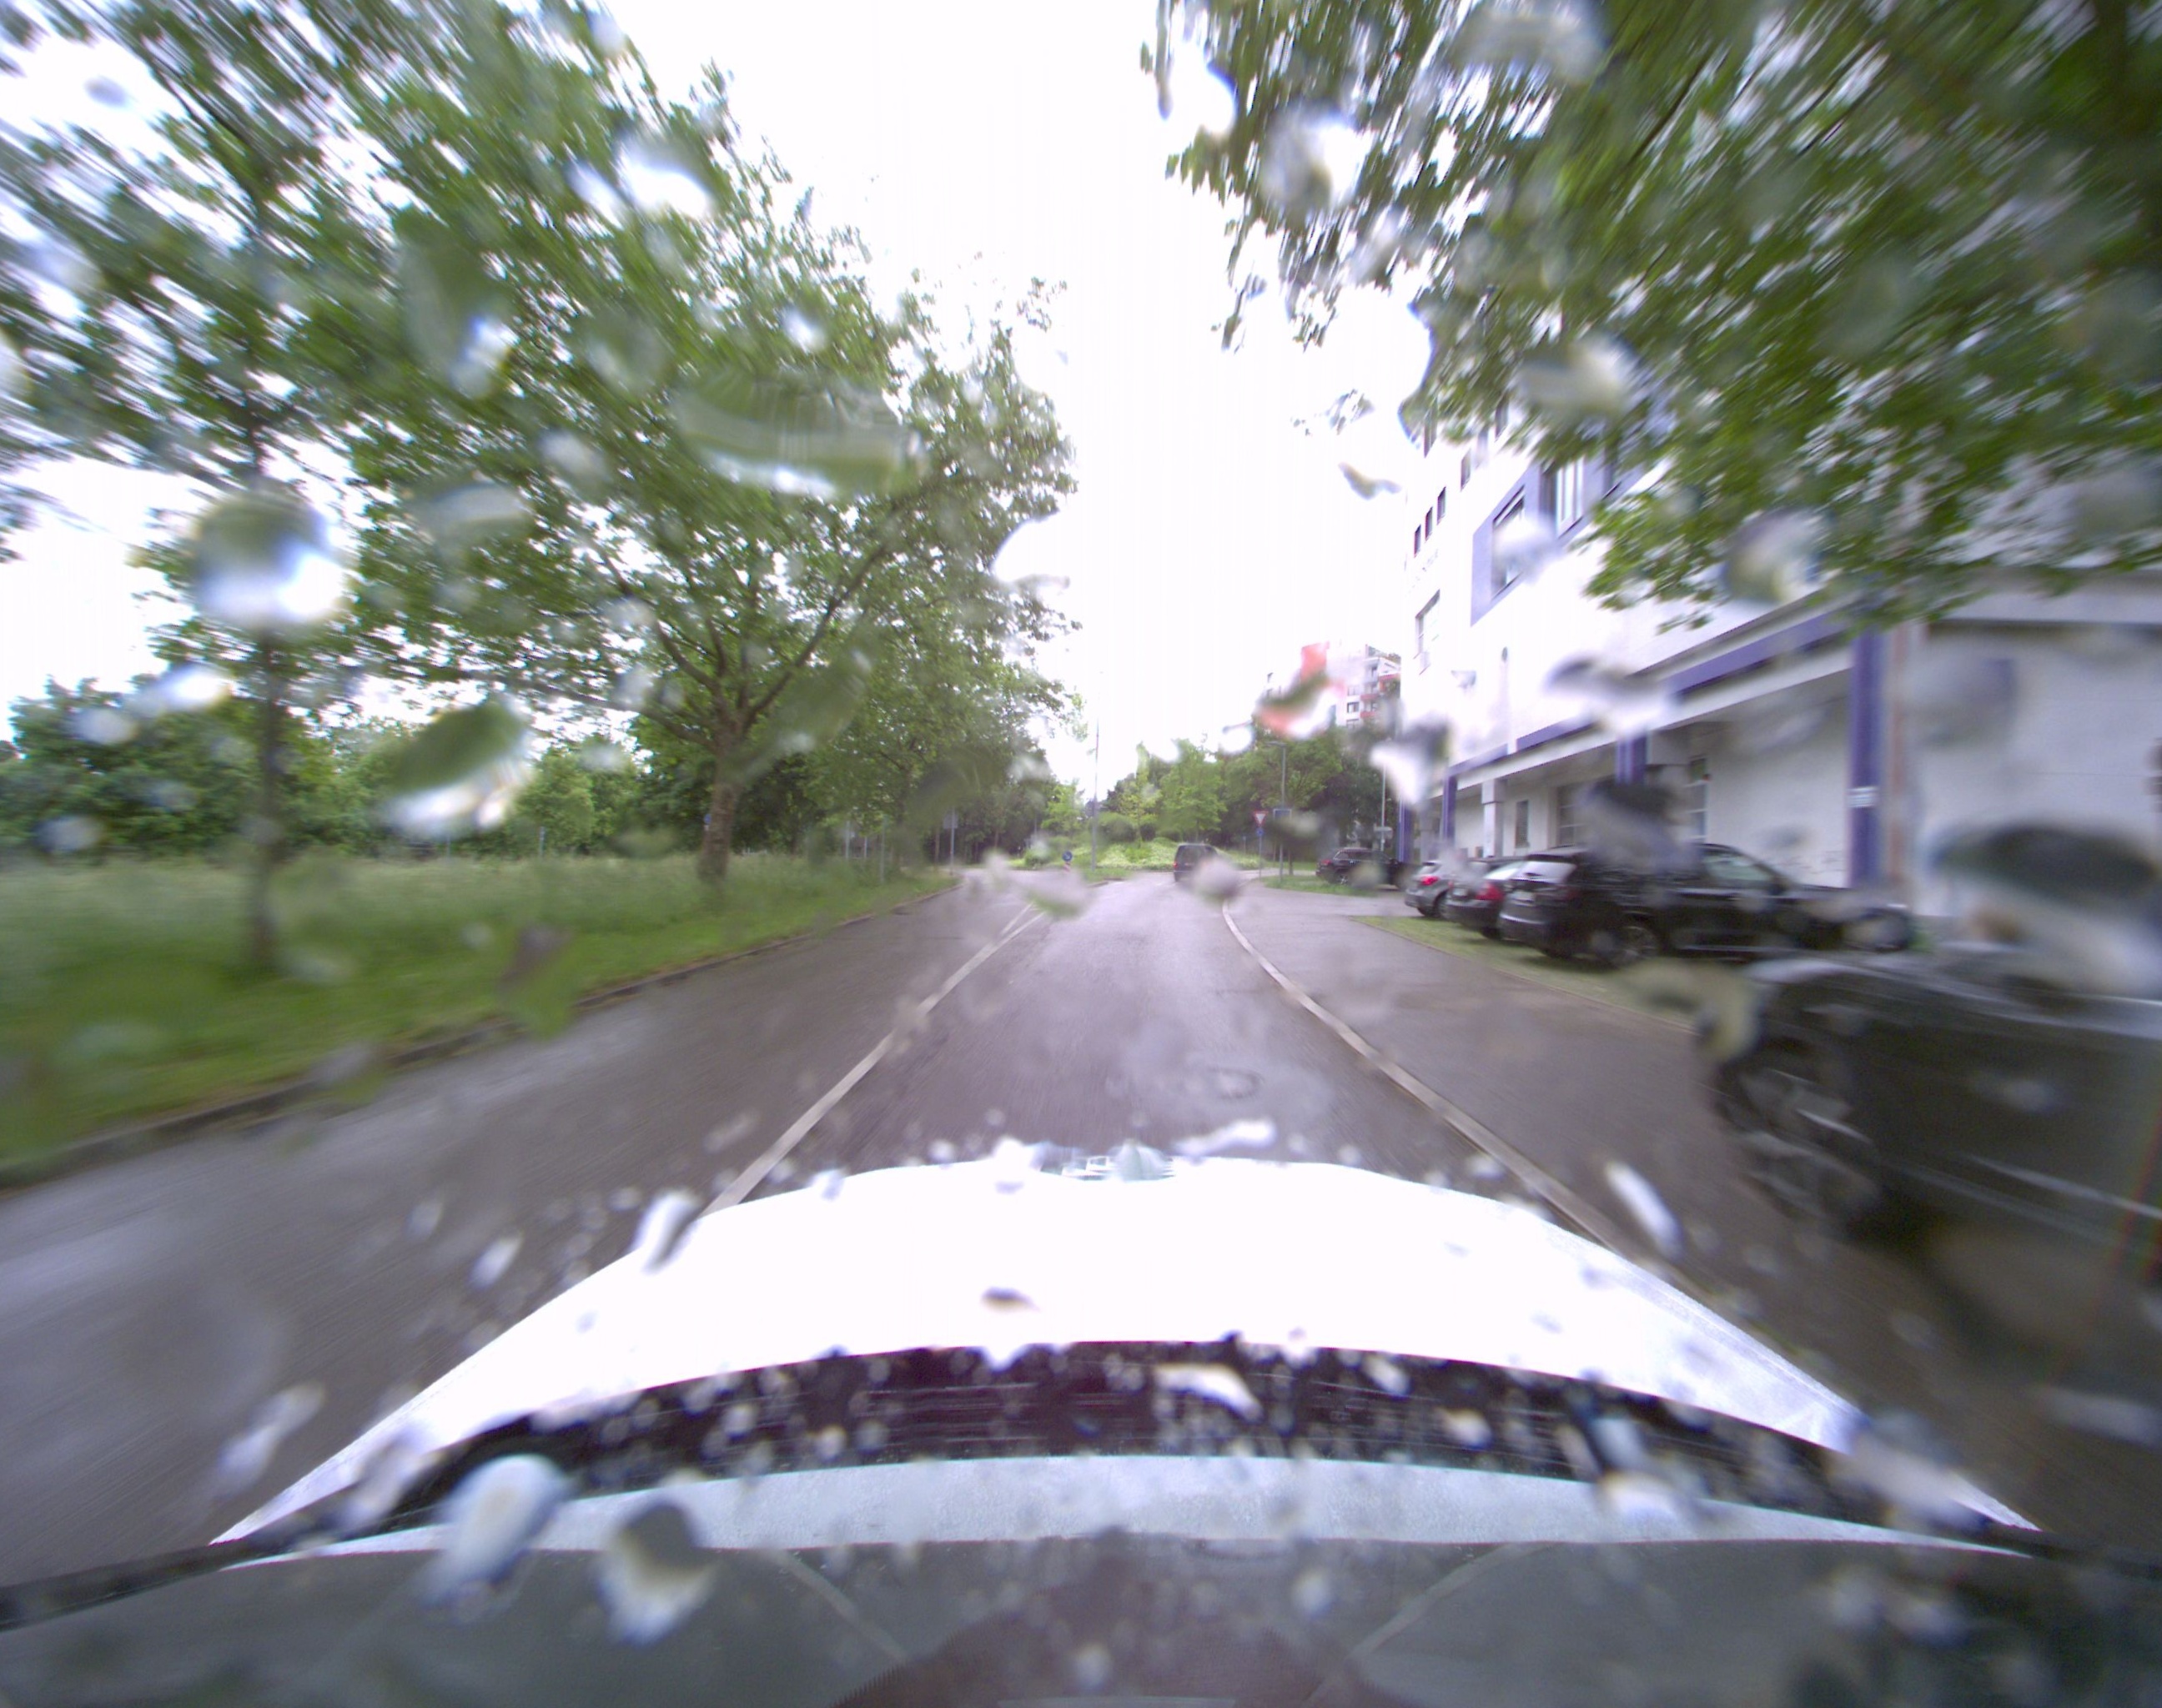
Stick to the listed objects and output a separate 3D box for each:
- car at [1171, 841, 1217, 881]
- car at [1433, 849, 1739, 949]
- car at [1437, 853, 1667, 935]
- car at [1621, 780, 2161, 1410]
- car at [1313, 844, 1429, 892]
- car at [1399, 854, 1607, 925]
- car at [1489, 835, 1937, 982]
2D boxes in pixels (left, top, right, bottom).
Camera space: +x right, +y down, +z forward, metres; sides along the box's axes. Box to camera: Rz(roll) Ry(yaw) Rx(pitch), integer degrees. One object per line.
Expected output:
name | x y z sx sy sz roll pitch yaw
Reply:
car | 5.627 0.316 40.178 1.905 1.801 3.803 -1 1 12
car | 8.318 0.722 13.688 4.090 1.478 1.722 1 -1 2
car | 9.275 0.762 16.262 3.599 1.453 1.723 1 -1 4
car | 3.646 0.614 2.037 1.794 1.602 4.372 0 0 2
car | 12.347 0.550 34.894 4.354 1.759 1.833 3 2 6
car | 9.585 0.775 18.757 3.916 1.453 1.725 1 -1 8
car | 8.050 0.640 10.710 4.453 1.680 1.769 1 1 2
